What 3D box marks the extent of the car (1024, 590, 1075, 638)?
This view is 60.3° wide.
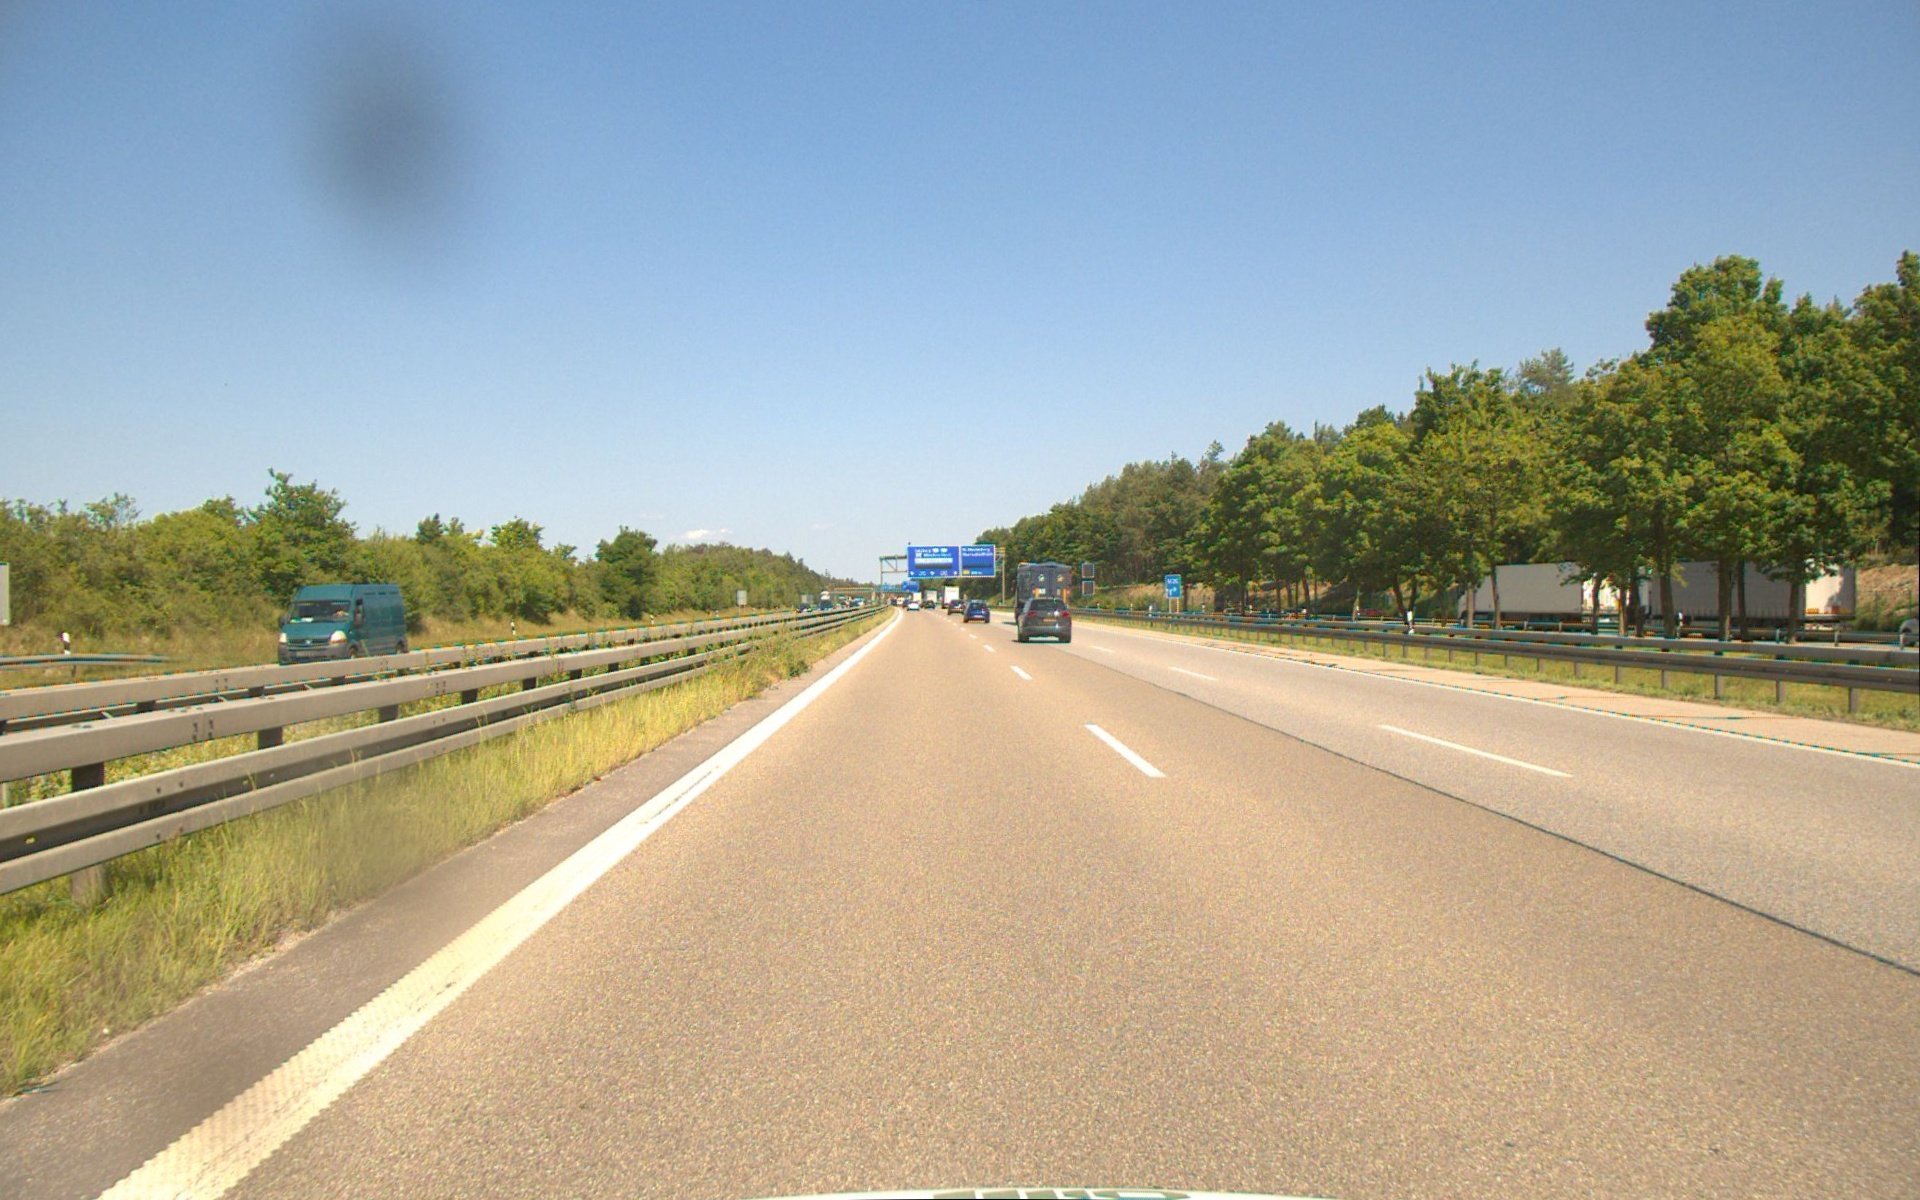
[{"bbox_3d":[3.294,0.498,61.423,1.762,1.698,4.259,1,0,2],"label":"car"}]

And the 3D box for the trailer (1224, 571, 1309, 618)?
[{"bbox_3d":[27.205,-0.449,147.663,2.528,3.983,12.702,0,0,-14],"label":"trailer"}]

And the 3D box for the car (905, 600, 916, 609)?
[{"bbox_3d":[-6.936,0.663,230.975,1.441,1.249,3.410,-1,0,-1],"label":"car"}]

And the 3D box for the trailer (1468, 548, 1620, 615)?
[{"bbox_3d":[36.148,-1.076,103.295,2.804,3.863,14.163,0,0,-8],"label":"trailer"}]

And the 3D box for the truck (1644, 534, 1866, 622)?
[{"bbox_3d":[39.062,-0.988,82.238,2.938,4.000,14.443,0,0,-5],"label":"truck"}]

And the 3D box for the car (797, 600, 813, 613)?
[{"bbox_3d":[-17.987,0.737,192.056,1.482,1.512,3.372,-1,0,-1],"label":"car"}]

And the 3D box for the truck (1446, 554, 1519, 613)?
[{"bbox_3d":[35.052,-1.114,111.184,2.756,3.863,5.136,0,0,-8],"label":"truck"}]

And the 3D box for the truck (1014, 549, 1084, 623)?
[{"bbox_3d":[5.695,-0.871,108.515,3.703,4.499,14.048,0,0,-1],"label":"truck"}]

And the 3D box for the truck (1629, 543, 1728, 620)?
[{"bbox_3d":[38.446,-0.982,88.679,2.913,4.000,4.828,0,0,-5],"label":"truck"}]

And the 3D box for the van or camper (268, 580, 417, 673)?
[{"bbox_3d":[-17.518,0.692,47.326,1.953,2.434,6.240,-2,0,-1],"label":"van or camper"}]

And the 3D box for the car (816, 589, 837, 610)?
[{"bbox_3d":[-14.503,-0.042,179.406,1.953,2.146,4.301,-2,0,-1],"label":"car"}]

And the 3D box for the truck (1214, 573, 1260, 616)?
[{"bbox_3d":[25.717,-0.495,153.615,2.528,3.983,4.848,0,0,-14],"label":"truck"}]

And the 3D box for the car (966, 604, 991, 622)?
[{"bbox_3d":[1.272,0.895,114.039,1.674,1.176,3.688,-1,0,-1],"label":"car"}]

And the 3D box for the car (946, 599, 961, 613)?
[{"bbox_3d":[-0.676,0.591,173.063,1.441,1.422,3.410,2,0,-1],"label":"car"}]

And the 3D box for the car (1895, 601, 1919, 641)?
[{"bbox_3d":[39.989,0.841,66.930,1.622,1.625,4.554,0,0,-2],"label":"car"}]
